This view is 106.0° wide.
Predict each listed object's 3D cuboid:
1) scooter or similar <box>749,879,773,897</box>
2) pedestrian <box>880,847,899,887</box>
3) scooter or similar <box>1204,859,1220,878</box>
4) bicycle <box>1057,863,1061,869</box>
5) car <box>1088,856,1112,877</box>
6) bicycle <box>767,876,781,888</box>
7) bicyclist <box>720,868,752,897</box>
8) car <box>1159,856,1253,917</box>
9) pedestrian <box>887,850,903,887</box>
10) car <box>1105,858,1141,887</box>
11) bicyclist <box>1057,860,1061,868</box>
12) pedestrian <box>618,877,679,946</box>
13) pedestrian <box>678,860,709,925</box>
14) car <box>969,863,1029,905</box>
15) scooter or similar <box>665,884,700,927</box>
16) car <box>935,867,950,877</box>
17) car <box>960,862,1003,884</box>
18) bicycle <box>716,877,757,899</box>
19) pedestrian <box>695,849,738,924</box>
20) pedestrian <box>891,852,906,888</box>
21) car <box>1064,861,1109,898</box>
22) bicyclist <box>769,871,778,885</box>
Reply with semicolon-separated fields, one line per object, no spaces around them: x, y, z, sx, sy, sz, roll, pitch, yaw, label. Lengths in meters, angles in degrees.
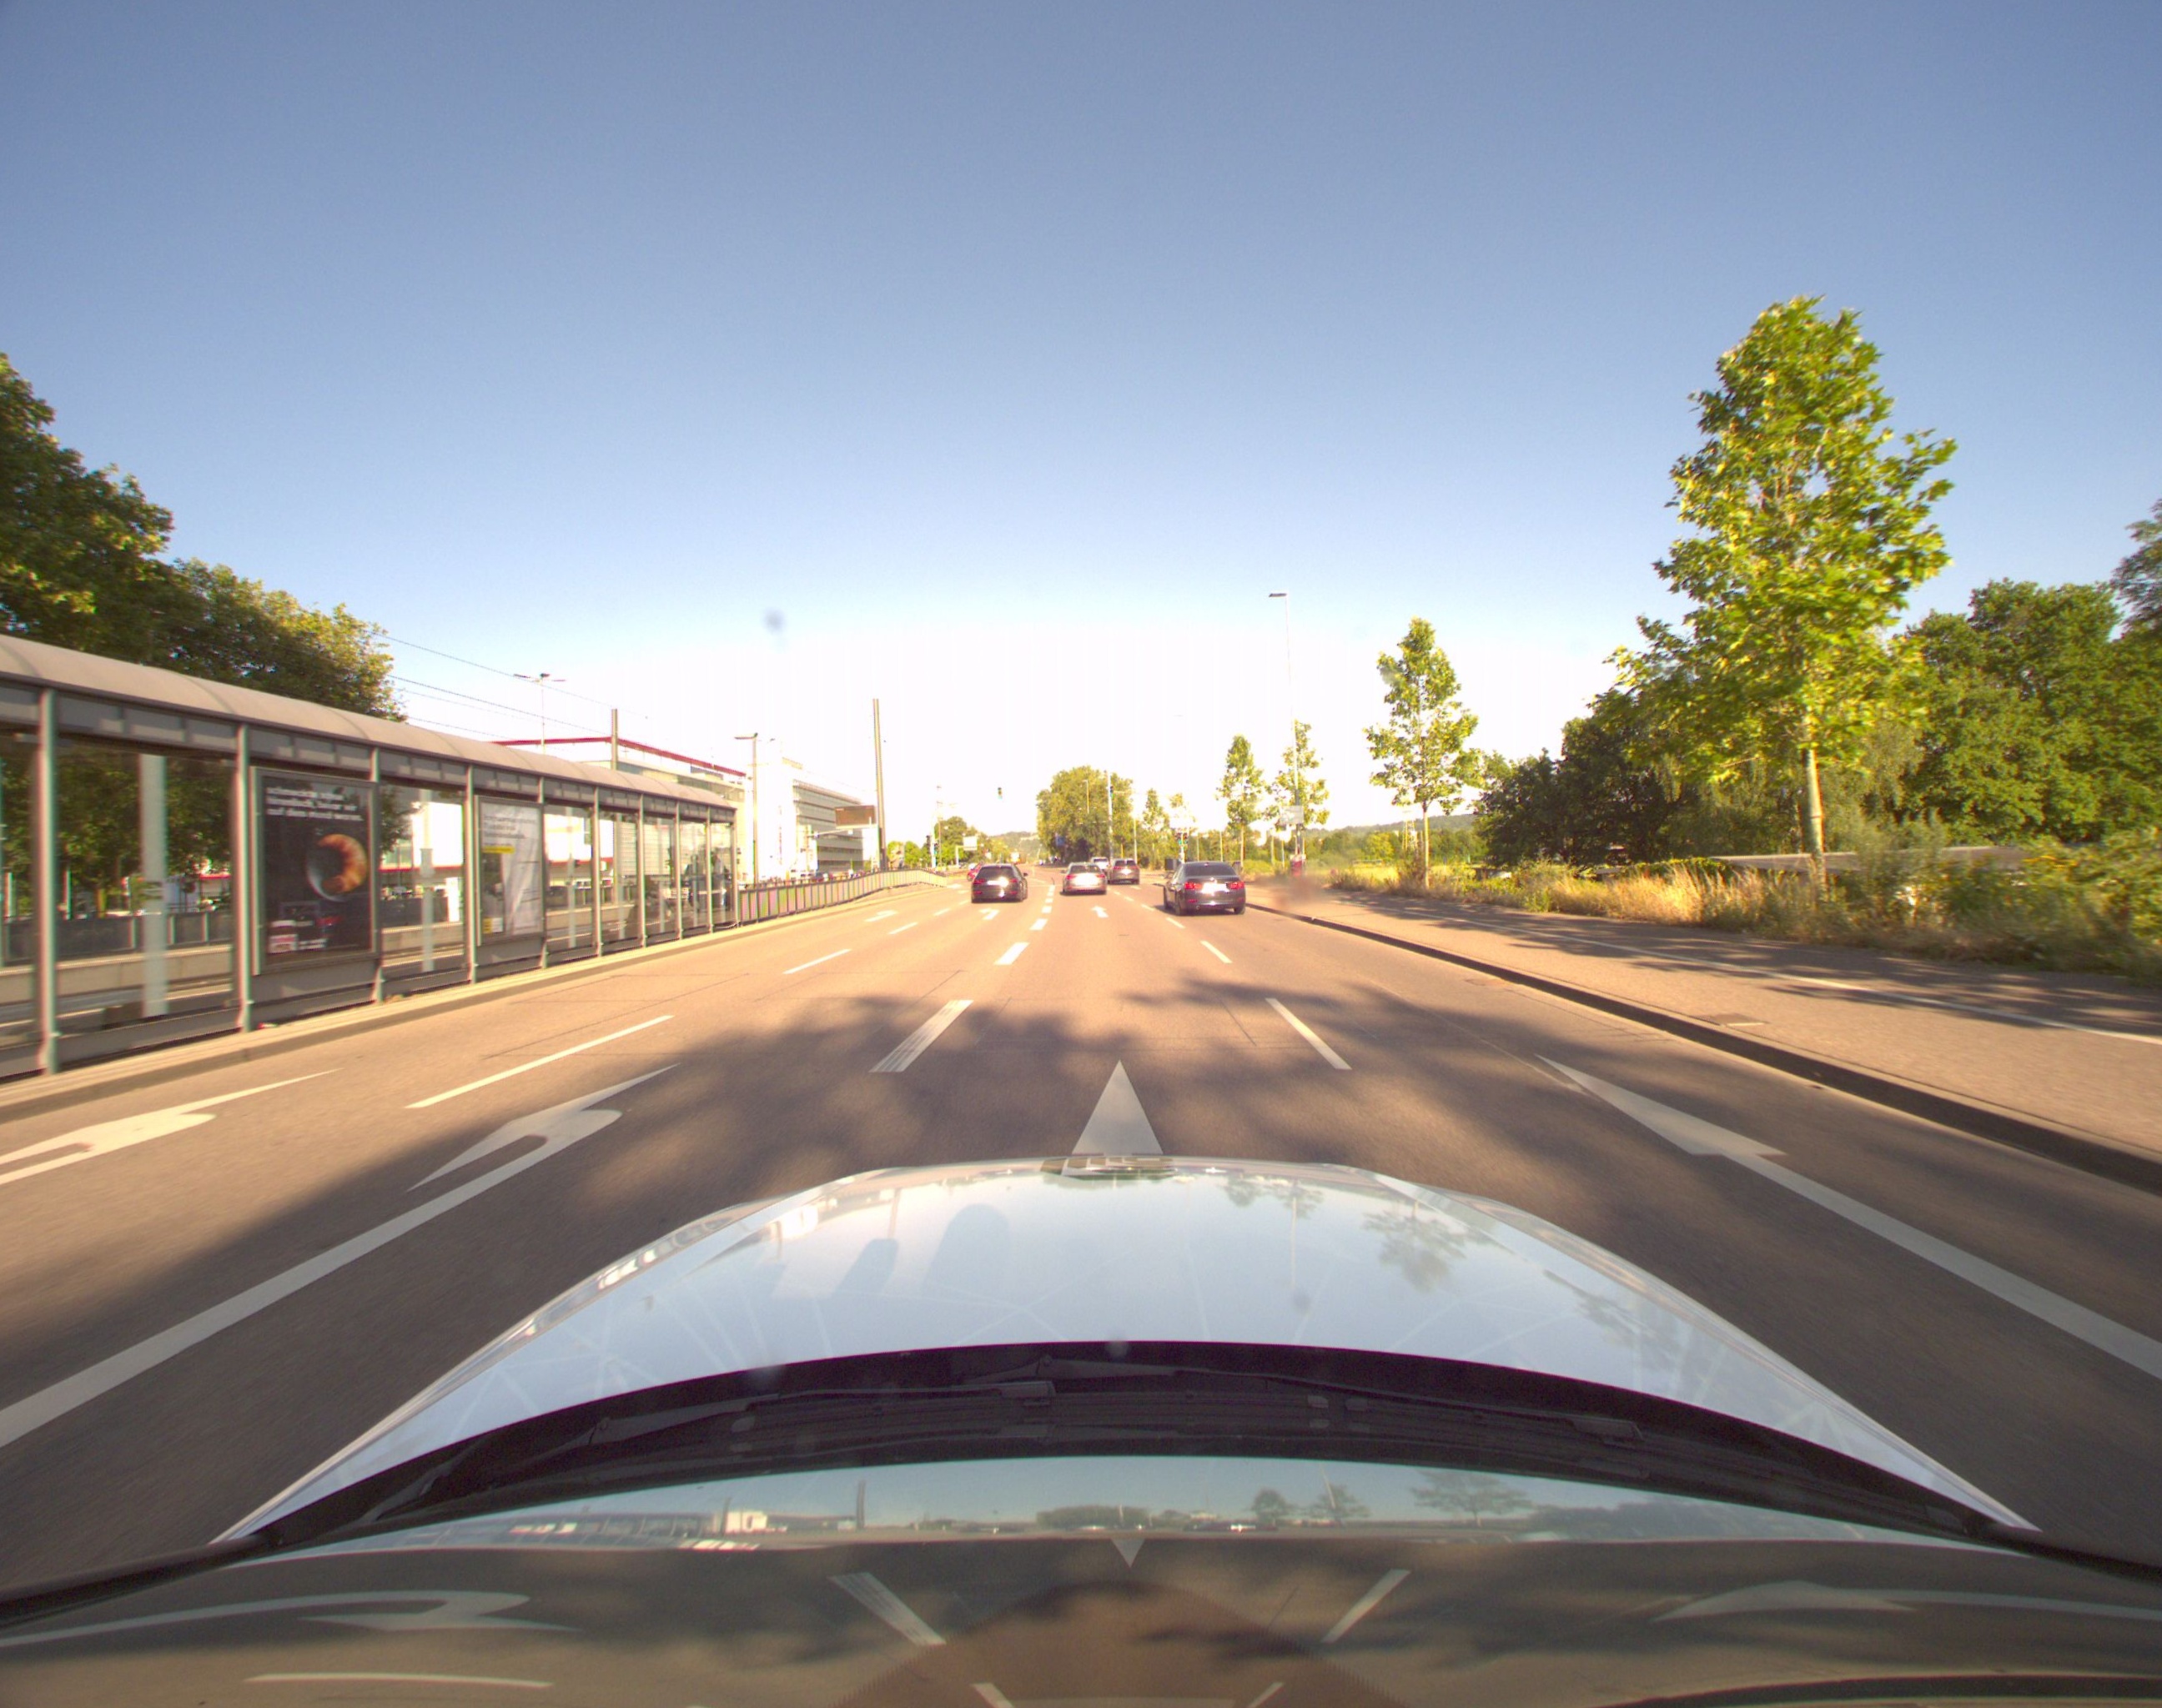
-19.860;2.118;50.522;0.779;1.015;1.073;-4;-2;29;scooter or similar
-8.641;0.601;36.727;0.704;1.775;0.536;0;-1;2;pedestrian
8.726;0.976;54.105;0.524;1.231;1.260;-3;-1;-15;scooter or similar
-4.250;2.293;158.310;0.620;1.120;1.811;-3;0;-3;bicycle
1.664;1.080;72.692;1.879;1.796;3.995;0;0;-3;car
-32.278;2.935;85.615;0.585;1.168;1.992;-1;0;2;bicycle
-20.773;1.712;49.042;0.812;1.617;1.495;-4;-2;29;bicyclist
3.363;0.859;22.742;1.860;1.467;4.584;-2;-1;0;car
-8.544;0.680;37.427;0.532;1.693;0.760;0;-1;0;pedestrian
2.597;1.105;51.042;1.840;1.661;4.435;-1;0;-3;car
-4.278;1.856;158.367;0.684;1.509;0.890;-2;0;-3;bicyclist
-8.059;1.055;15.198;0.678;1.232;0.878;0;0;-2;pedestrian
-9.727;0.957;20.452;0.557;1.596;0.638;-1;-1;-14;pedestrian
-3.042;1.082;30.853;1.910;1.458;4.089;-1;-1;-1;car
-9.590;1.225;19.618;0.570;0.987;0.812;-1;-1;-14;scooter or similar
-22.635;2.868;133.118;1.778;1.447;4.105;-4;0;-2;car
-8.300;1.594;68.025;1.781;1.460;3.542;-4;-1;-41;car
-20.738;2.041;49.074;0.705;1.218;2.293;-4;-2;29;bicycle
-8.605;0.753;19.246;0.692;1.716;0.820;-1;-1;-6;pedestrian
-8.601;0.737;38.367;0.532;1.657;0.750;0;-1;0;pedestrian
0.215;1.088;36.407;1.860;1.467;4.665;-1;0;0;car
-32.285;2.514;85.586;0.585;1.522;0.751;-1;0;2;bicyclist
